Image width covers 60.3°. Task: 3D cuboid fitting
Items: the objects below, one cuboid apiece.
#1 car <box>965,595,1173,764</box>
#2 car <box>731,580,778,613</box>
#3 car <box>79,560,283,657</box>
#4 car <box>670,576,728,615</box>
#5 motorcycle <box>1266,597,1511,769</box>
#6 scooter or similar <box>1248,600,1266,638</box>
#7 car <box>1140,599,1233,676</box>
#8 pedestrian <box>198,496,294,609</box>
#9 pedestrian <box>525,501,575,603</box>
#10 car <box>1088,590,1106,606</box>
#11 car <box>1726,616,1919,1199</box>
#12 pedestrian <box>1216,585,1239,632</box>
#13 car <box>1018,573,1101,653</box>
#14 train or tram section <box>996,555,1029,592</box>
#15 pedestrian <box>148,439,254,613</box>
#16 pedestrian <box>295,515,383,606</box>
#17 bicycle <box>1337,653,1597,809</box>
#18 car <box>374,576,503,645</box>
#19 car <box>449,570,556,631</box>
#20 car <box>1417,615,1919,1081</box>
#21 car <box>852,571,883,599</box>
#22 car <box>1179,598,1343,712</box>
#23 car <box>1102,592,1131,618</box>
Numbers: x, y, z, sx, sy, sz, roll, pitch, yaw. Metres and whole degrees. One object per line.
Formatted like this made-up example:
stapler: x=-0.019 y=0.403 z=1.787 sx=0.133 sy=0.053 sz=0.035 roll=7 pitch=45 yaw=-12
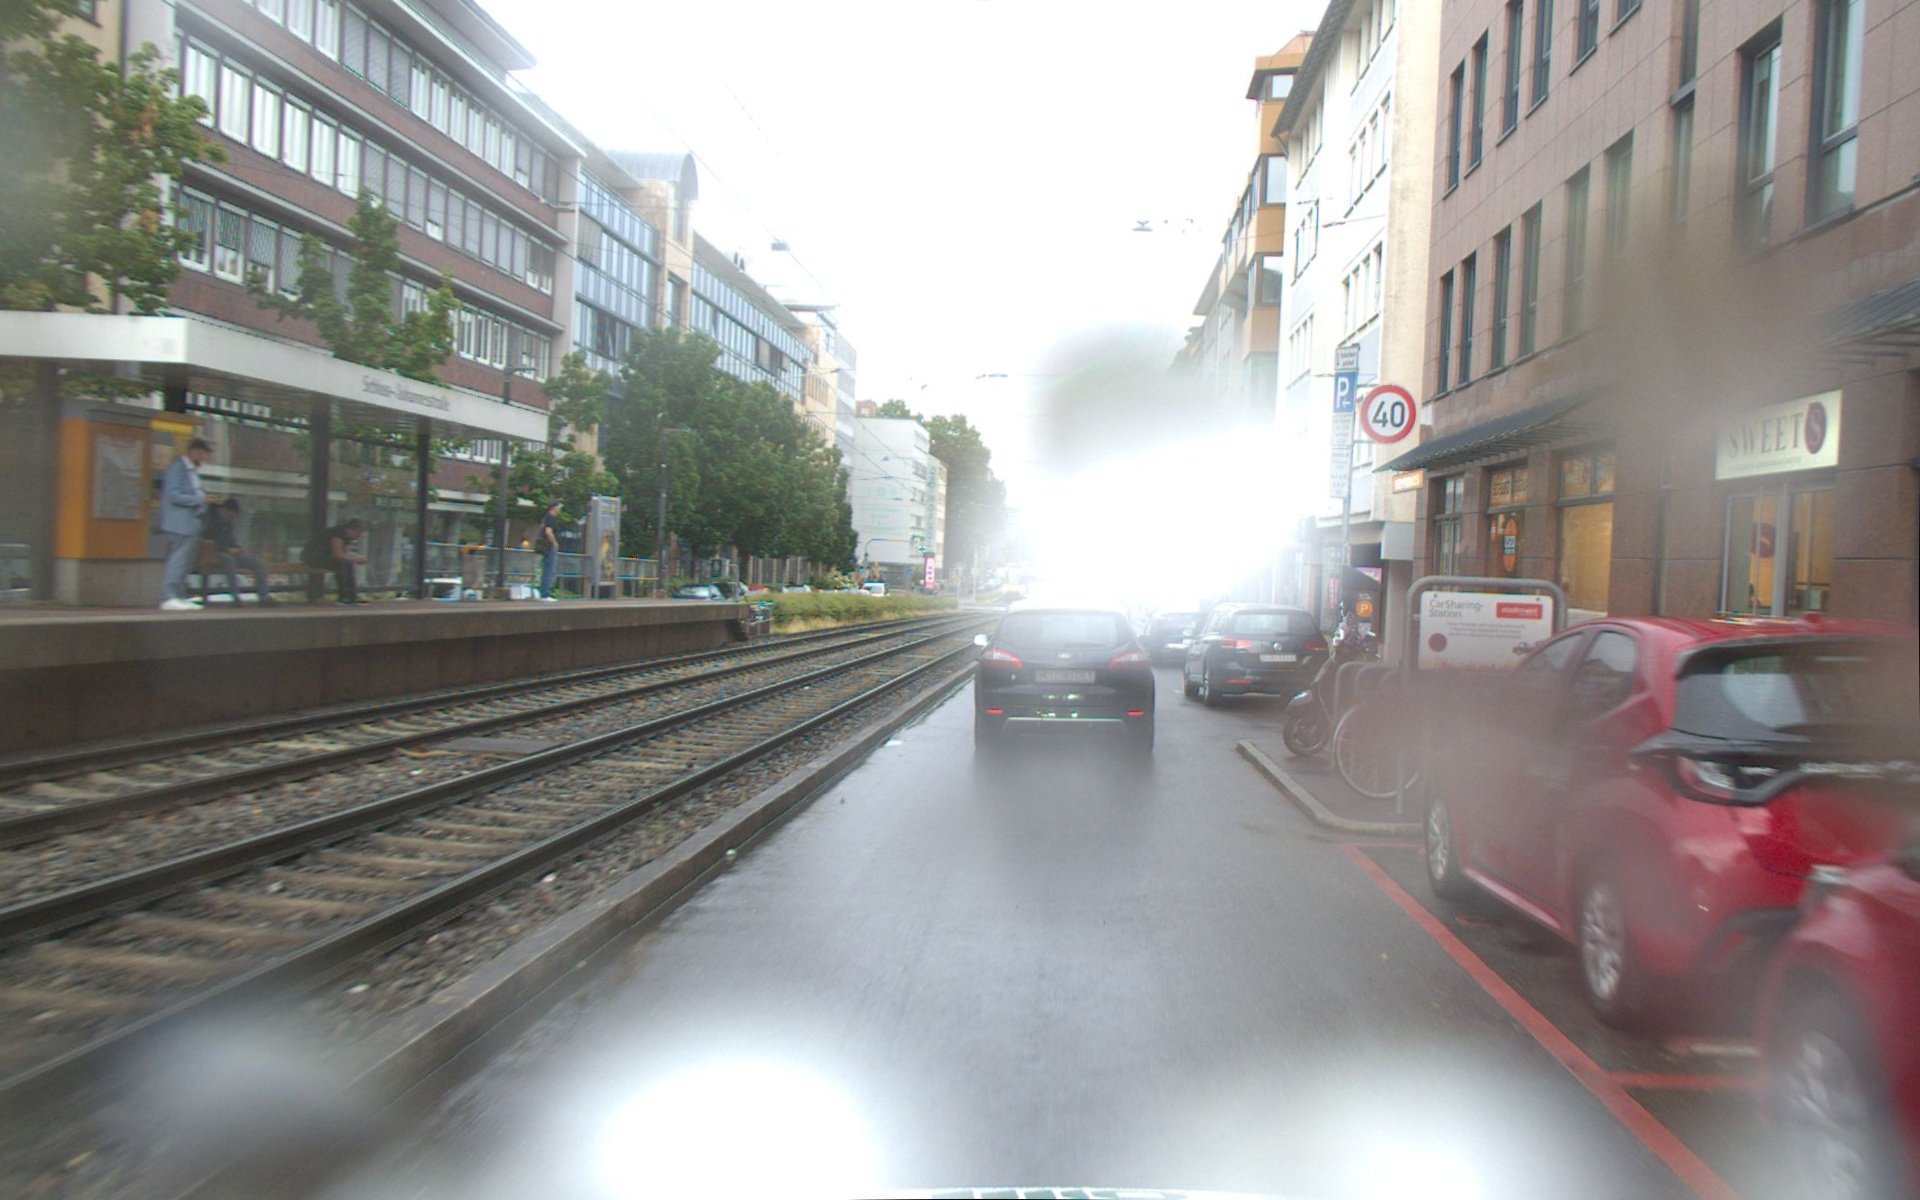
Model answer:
car: x=1.135 y=0.738 z=17.014 sx=1.866 sy=1.488 sz=3.446 roll=2 pitch=0 yaw=4
car: x=-9.507 y=-0.183 z=76.842 sx=1.536 sy=1.461 sz=4.178 roll=2 pitch=0 yaw=1
car: x=-12.872 y=0.119 z=27.573 sx=1.536 sy=1.461 sz=3.736 roll=2 pitch=0 yaw=1
car: x=-10.300 y=-0.186 z=65.516 sx=1.536 sy=1.461 sz=4.178 roll=2 pitch=0 yaw=1
motorcycle: x=3.895 y=0.723 z=15.038 sx=2.041 sy=1.432 sz=0.799 roll=2 pitch=0 yaw=22
scooter or similar: x=8.869 y=0.564 z=49.459 sx=0.205 sy=1.101 sz=1.233 roll=2 pitch=0 yaw=-4
car: x=5.352 y=0.836 z=39.632 sx=1.769 sy=1.660 sz=5.172 roll=2 pitch=0 yaw=3
pedestrian: x=-8.325 y=-0.547 z=19.318 sx=0.678 sy=1.271 sz=0.885 roll=2 pitch=0 yaw=2
pedestrian: x=-7.579 y=-0.878 z=30.580 sx=0.642 sy=1.833 sz=0.850 roll=2 pitch=0 yaw=2
car: x=14.327 y=-0.190 z=173.044 sx=1.866 sy=1.662 sz=4.576 roll=2 pitch=0 yaw=5
car: x=2.819 y=0.788 z=2.680 sx=1.662 sy=1.505 sz=3.869 roll=0 pitch=0 yaw=5
pedestrian: x=9.774 y=0.312 z=60.394 sx=0.681 sy=1.680 sz=0.966 roll=2 pitch=0 yaw=3
car: x=2.617 y=0.330 z=42.676 sx=1.866 sy=1.897 sz=4.577 roll=2 pitch=0 yaw=6
train or tram section: x=5.835 y=-2.914 z=184.654 sx=3.440 sy=3.843 sz=11.334 roll=2 pitch=0 yaw=1
pedestrian: x=-7.855 y=-0.750 z=17.145 sx=0.642 sy=1.741 sz=0.850 roll=2 pitch=0 yaw=2
pedestrian: x=-8.163 y=-0.512 z=21.781 sx=0.875 sy=1.143 sz=0.849 roll=2 pitch=0 yaw=-7
bicycle: x=3.703 y=0.949 z=12.154 sx=1.749 sy=1.049 sz=0.462 roll=2 pitch=0 yaw=3
car: x=-11.999 y=0.220 z=38.300 sx=1.536 sy=1.461 sz=4.239 roll=2 pitch=0 yaw=1
car: x=-11.918 y=-0.004 z=43.339 sx=1.536 sy=1.461 sz=4.178 roll=2 pitch=0 yaw=1
car: x=3.272 y=0.816 z=7.271 sx=1.663 sy=1.488 sz=3.868 roll=0 pitch=0 yaw=3
car: x=-6.791 y=-1.077 z=121.793 sx=1.867 sy=1.897 sz=4.574 roll=2 pitch=0 yaw=1
car: x=4.466 y=0.762 z=25.186 sx=1.737 sy=1.494 sz=4.610 roll=2 pitch=0 yaw=2
car: x=10.483 y=0.326 z=111.048 sx=1.866 sy=1.662 sz=4.576 roll=2 pitch=0 yaw=5
